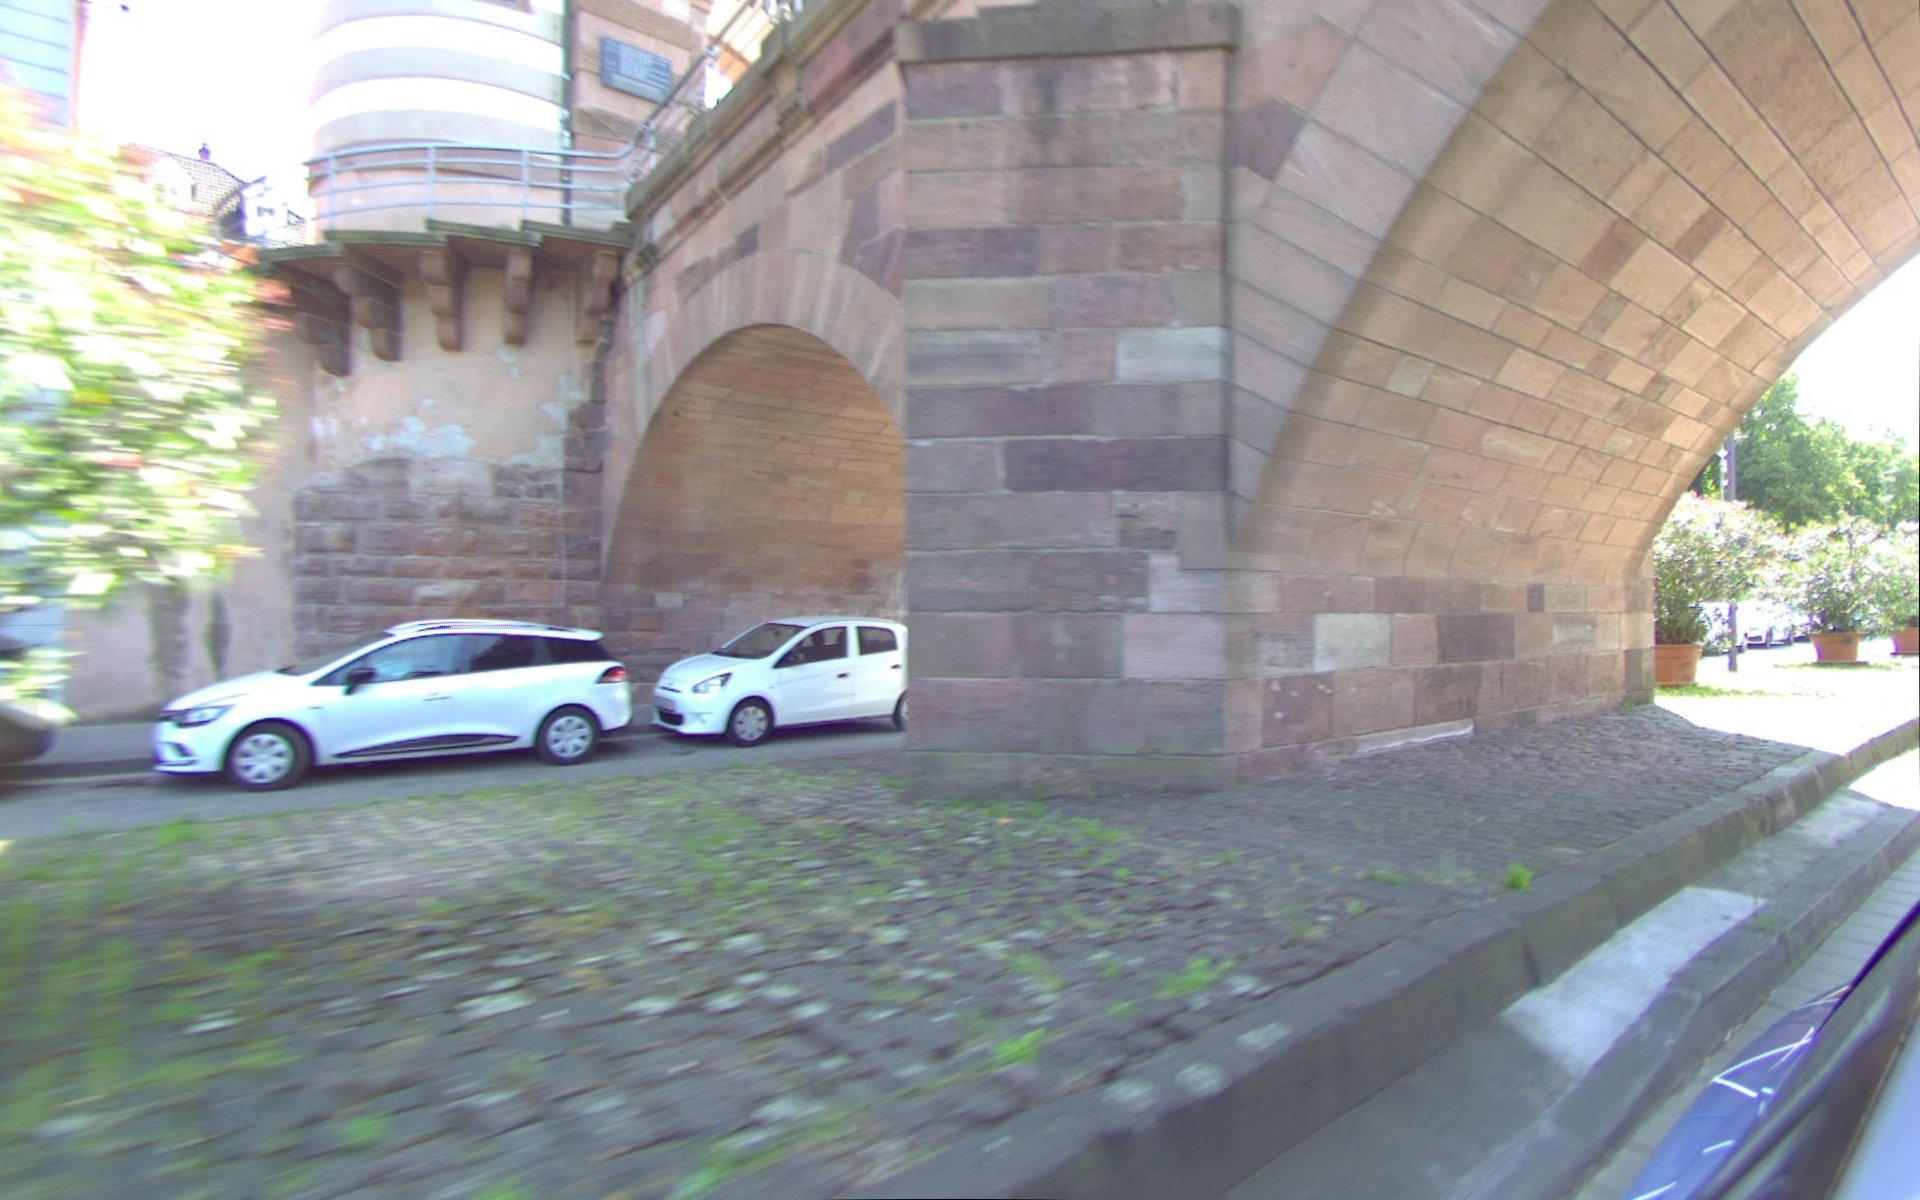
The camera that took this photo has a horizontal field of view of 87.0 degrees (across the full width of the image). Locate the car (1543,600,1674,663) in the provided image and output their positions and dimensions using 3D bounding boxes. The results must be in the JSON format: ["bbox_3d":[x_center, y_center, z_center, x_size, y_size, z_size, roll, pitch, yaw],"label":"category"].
[{"bbox_3d":[16.977,0.766,26.458,3.644,1.503,1.501,0,0,-33],"label":"car"}]

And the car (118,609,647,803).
[{"bbox_3d":[-5.637,0.871,10.247,4.335,1.511,1.898,0,1,-38],"label":"car"}]

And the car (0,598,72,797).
[{"bbox_3d":[-9.408,0.770,7.722,3.737,1.562,1.677,0,-1,-34],"label":"car"}]

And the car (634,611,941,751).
[{"bbox_3d":[-2.109,0.904,12.917,3.604,1.495,1.556,0,0,-41],"label":"car"}]

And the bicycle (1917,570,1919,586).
[{"bbox_3d":[59.945,-1.336,62.038,0.293,1.017,1.858,1,0,-39],"label":"bicycle"}]

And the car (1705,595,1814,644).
[{"bbox_3d":[26.266,0.588,33.203,4.669,1.450,1.758,-1,1,-38],"label":"car"}]

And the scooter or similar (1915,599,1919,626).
[{"bbox_3d":[40.899,0.518,42.630,1.410,1.103,0.534,-1,1,-28],"label":"scooter or similar"}]

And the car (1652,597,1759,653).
[{"bbox_3d":[22.161,0.695,30.068,3.484,1.475,1.715,-1,3,-39],"label":"car"}]
